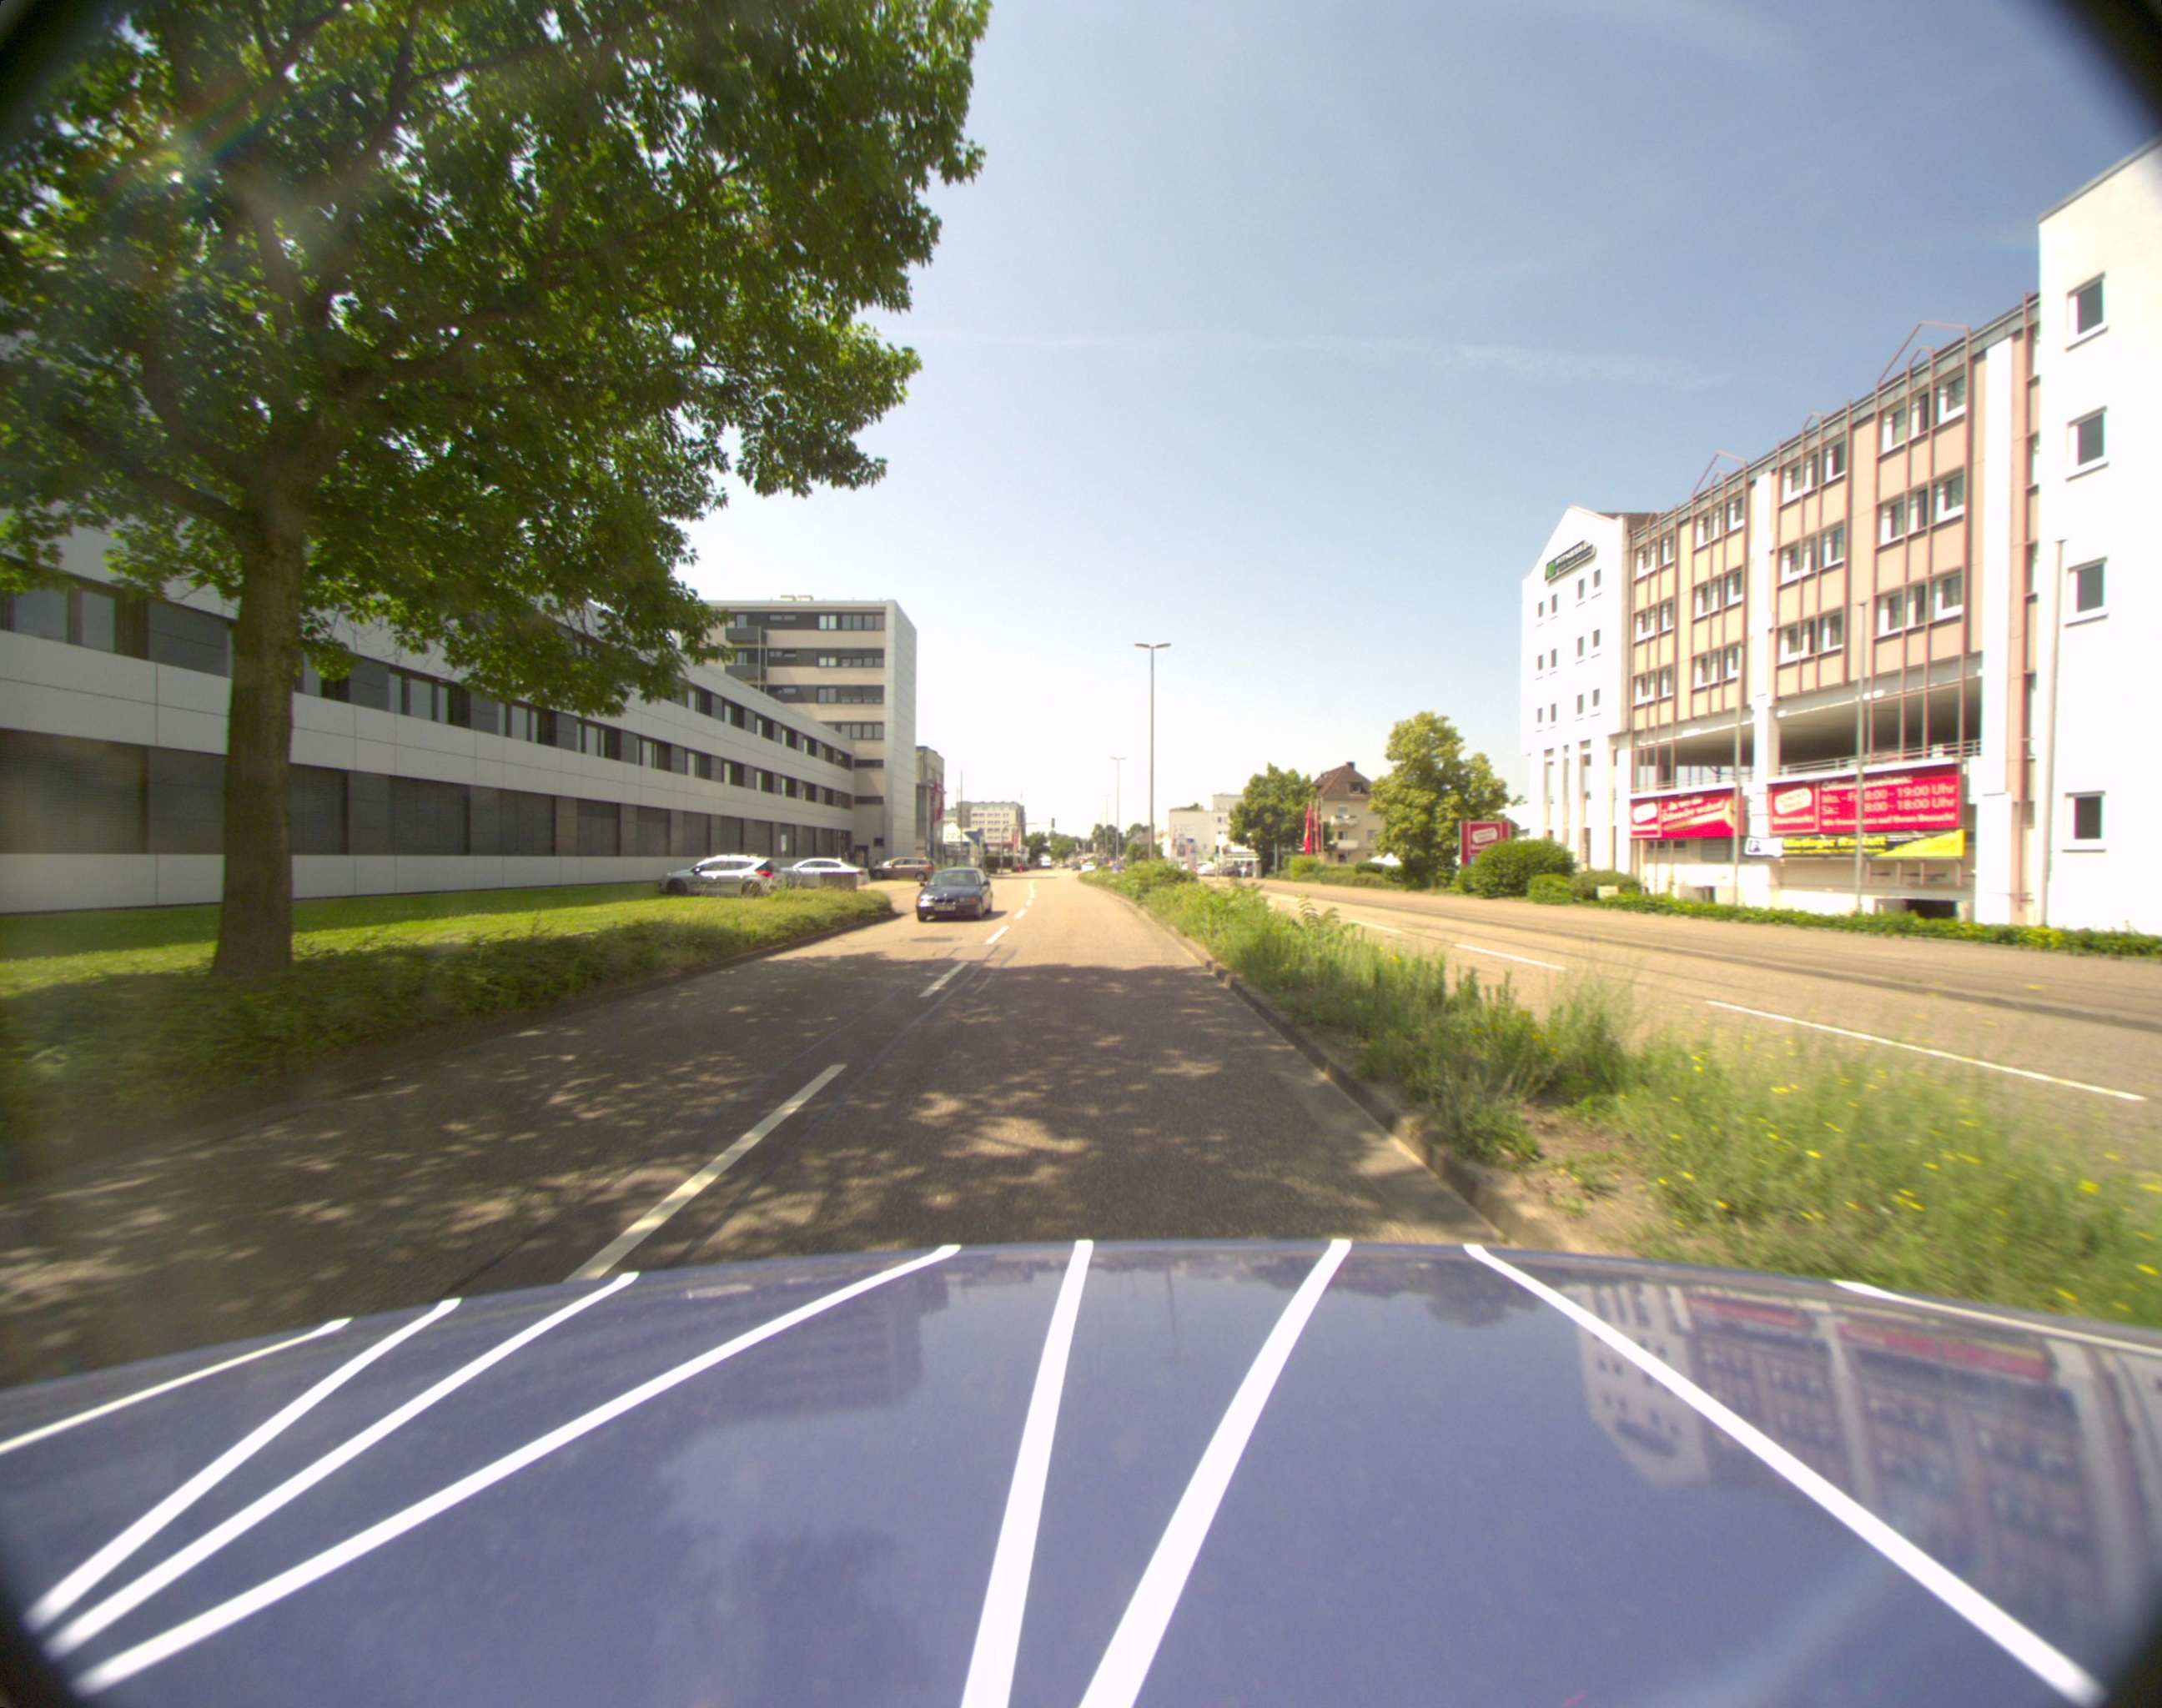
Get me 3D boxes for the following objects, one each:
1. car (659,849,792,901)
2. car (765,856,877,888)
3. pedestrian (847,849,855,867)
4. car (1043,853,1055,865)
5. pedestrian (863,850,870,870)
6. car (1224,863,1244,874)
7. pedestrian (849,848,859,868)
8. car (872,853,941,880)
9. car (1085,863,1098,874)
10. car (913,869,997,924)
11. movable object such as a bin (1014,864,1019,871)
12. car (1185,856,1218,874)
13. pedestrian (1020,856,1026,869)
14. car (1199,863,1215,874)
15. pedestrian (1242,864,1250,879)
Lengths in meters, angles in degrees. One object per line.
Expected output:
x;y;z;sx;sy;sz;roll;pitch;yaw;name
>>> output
-12.511;0.713;26.922;3.823;1.582;1.732;3;0;-4;car
-12.183;0.810;35.813;4.626;1.382;1.999;1;0;-4;car
-18.593;0.310;61.457;0.523;1.397;0.799;1;0;-9;pedestrian
-7.452;1.209;177.399;2.183;2.757;7.278;3;0;0;car
-17.459;0.491;61.814;0.524;1.653;0.756;1;0;-17;pedestrian
19.856;1.837;98.670;1.737;1.343;3.999;1;0;-2;car
-18.078;0.311;60.467;0.594;1.625;0.524;1;0;9;pedestrian
-11.843;0.834;51.736;4.271;1.679;1.999;1;0;-4;car
1.442;1.985;103.157;1.693;1.425;3.711;0;0;1;car
-3.367;1.099;20.927;1.632;1.331;3.757;-1;-1;1;car
-8.884;1.831;104.606;0.552;0.914;0.653;4;0;1;movable object such as a bin
17.920;1.650;113.034;4.556;1.699;1.760;-12;0;9;car
-8.059;1.169;105.476;0.787;1.836;0.936;1;0;3;pedestrian
16.509;1.908;99.672;1.779;1.402;4.761;2;-1;6;car
18.924;2.004;86.989;0.742;1.737;1.034;1;0;3;pedestrian
